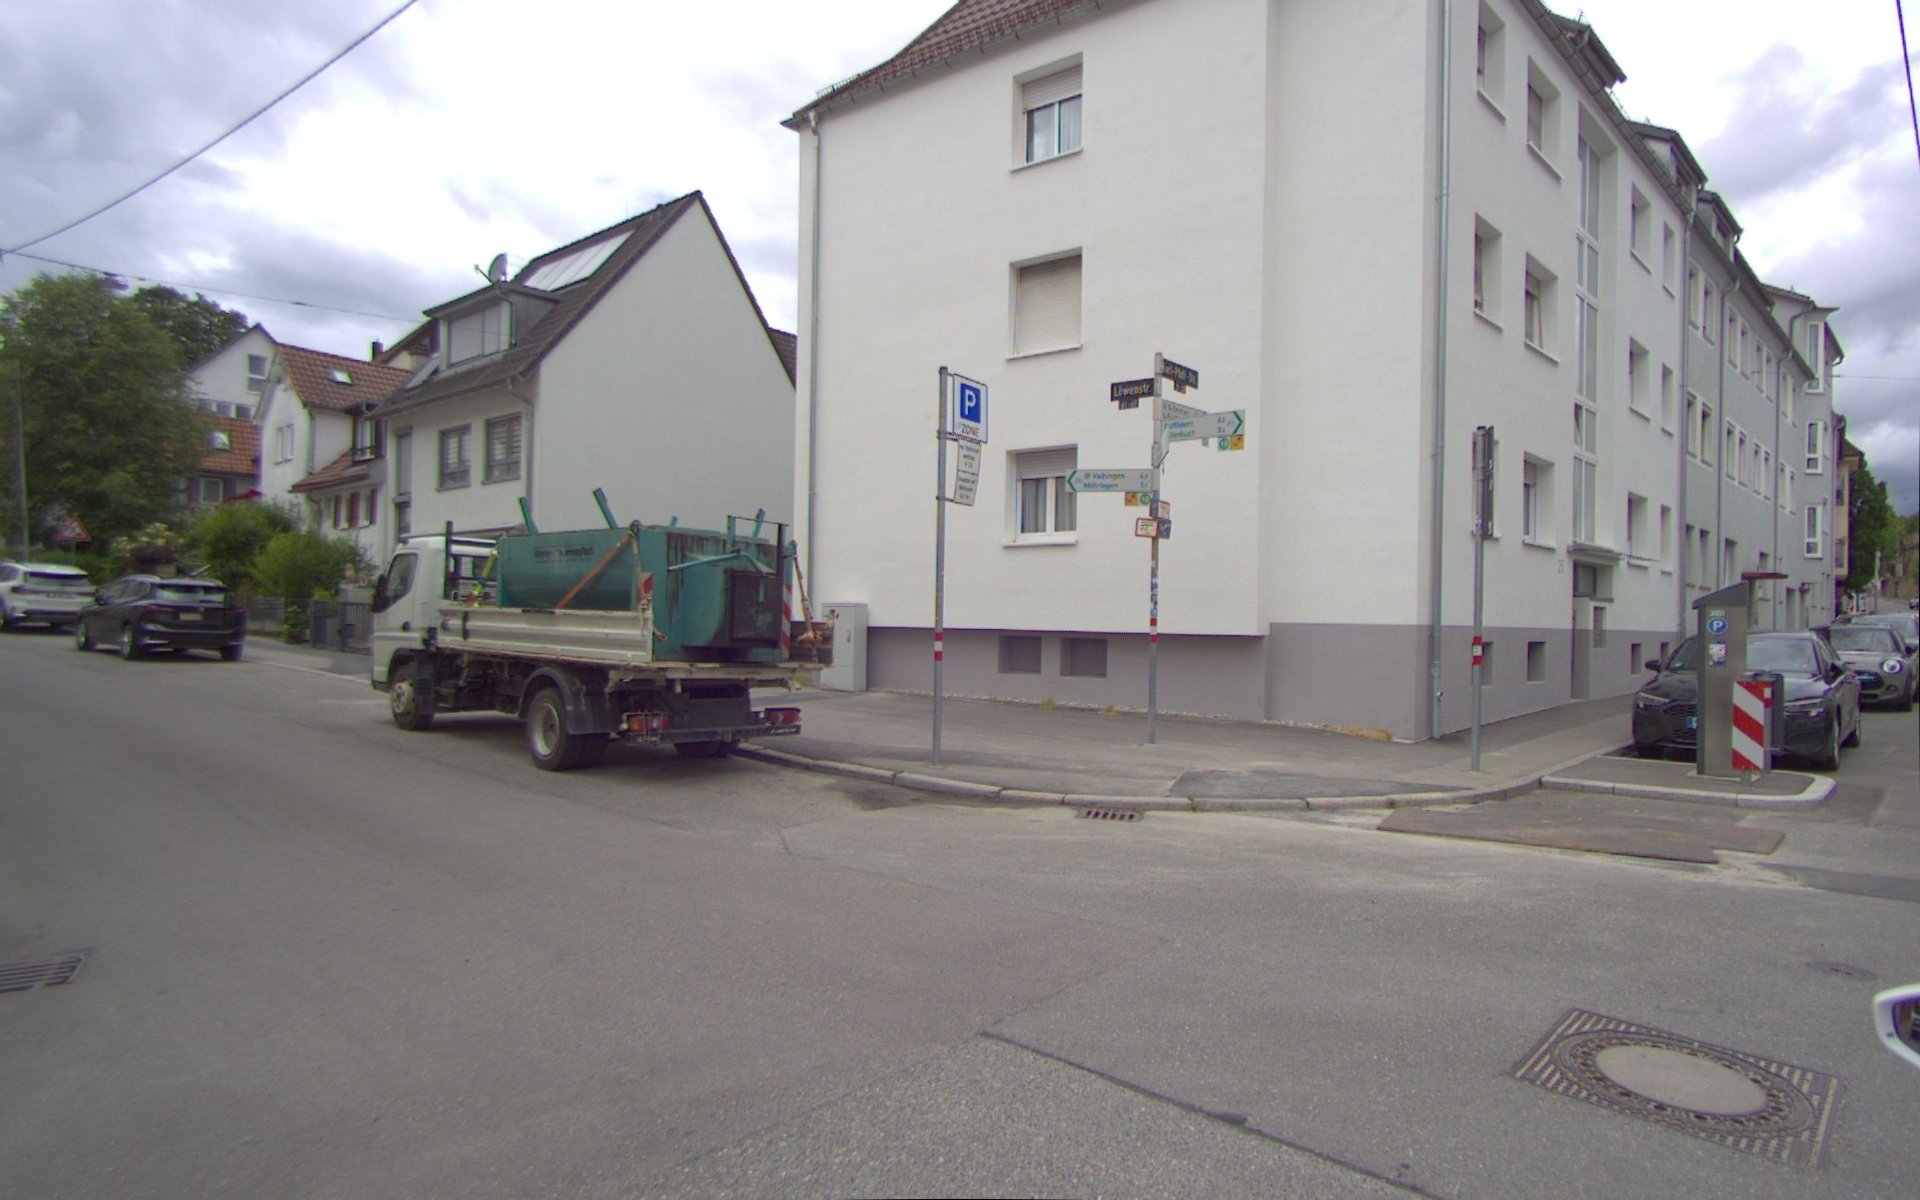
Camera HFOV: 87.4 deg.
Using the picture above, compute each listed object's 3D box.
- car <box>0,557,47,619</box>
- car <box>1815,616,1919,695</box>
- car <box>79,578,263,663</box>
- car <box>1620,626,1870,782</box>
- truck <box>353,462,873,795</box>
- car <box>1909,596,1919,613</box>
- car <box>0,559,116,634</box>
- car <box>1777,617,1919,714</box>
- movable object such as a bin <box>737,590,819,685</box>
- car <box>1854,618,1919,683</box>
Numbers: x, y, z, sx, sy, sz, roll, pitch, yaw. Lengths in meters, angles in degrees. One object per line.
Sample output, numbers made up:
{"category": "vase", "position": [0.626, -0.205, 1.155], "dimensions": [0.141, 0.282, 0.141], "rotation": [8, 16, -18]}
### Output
{"category": "car", "position": [-27.891, -0.421, 28.642], "dimensions": [3.880, 1.672, 1.851], "rotation": [3, -1, 34]}
{"category": "car", "position": [19.303, 1.087, 20.964], "dimensions": [3.690, 1.489, 1.715], "rotation": [0, -1, -41]}
{"category": "car", "position": [-15.679, 0.390, 19.917], "dimensions": [3.882, 1.483, 1.850], "rotation": [2, -2, 36]}
{"category": "car", "position": [9.208, 1.036, 11.639], "dimensions": [1.802, 1.410, 4.270], "rotation": [-1, -1, 45]}
{"category": "truck", "position": [-3.965, 0.262, 10.680], "dimensions": [6.193, 2.585, 2.307], "rotation": [0, -2, 40]}
{"category": "car", "position": [104.005, 0.492, 108.302], "dimensions": [2.155, 1.716, 3.609], "rotation": [1, 1, 39]}
{"category": "car", "position": [-22.769, -0.098, 24.960], "dimensions": [3.882, 1.672, 1.850], "rotation": [2, -2, 36]}
{"category": "car", "position": [15.817, 1.068, 17.803], "dimensions": [1.713, 1.509, 3.695], "rotation": [-1, -1, 45]}
{"category": "movable object such as a bin", "position": [-3.276, 0.667, 18.087], "dimensions": [0.987, 1.639, 1.006], "rotation": [2, -1, 40]}
{"category": "car", "position": [23.058, 1.180, 24.488], "dimensions": [1.713, 1.467, 3.695], "rotation": [-1, -1, 45]}
